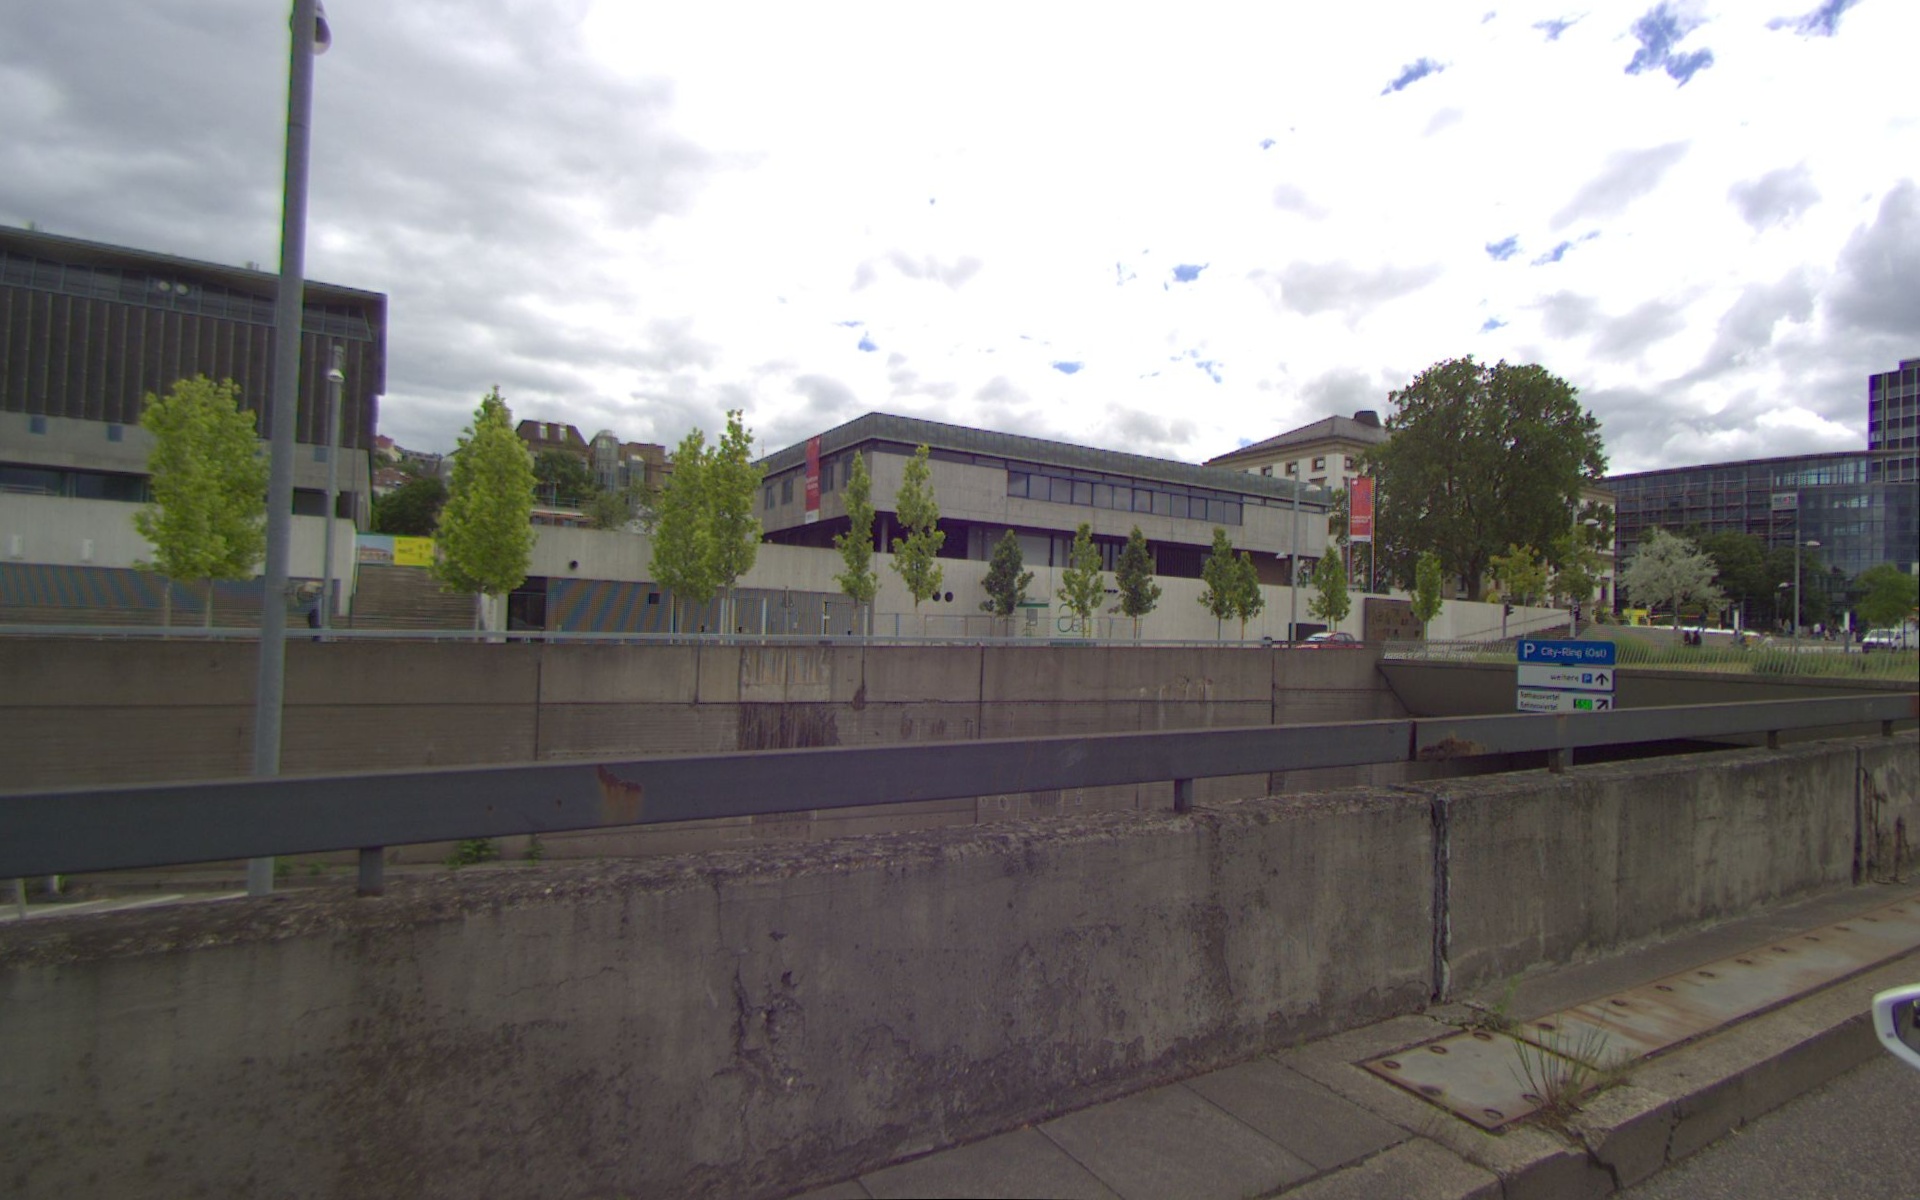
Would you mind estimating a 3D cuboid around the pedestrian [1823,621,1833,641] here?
[{"bbox_3d":[88.303,3.154,102.176,0.730,2.040,0.789,-1,-1,40],"label":"pedestrian"}]

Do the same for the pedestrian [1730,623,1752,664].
[{"bbox_3d":[40.352,2.233,51.902,0.623,2.041,0.724,-4,2,-37],"label":"pedestrian"}]

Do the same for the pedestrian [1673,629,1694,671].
[{"bbox_3d":[35.832,2.447,49.732,0.779,2.040,0.834,0,-1,33],"label":"pedestrian"}]

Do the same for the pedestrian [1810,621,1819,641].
[{"bbox_3d":[90.203,3.269,106.008,0.730,2.040,0.789,-1,-1,40],"label":"pedestrian"}]

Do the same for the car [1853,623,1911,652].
[{"bbox_3d":[70.916,2.848,77.234,4.635,2.040,1.984,0,0,-30],"label":"car"}]

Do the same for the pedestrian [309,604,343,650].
[{"bbox_3d":[-23.249,0.986,36.840,0.777,1.664,0.740,0,0,-2],"label":"pedestrian"}]

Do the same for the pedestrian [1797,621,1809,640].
[{"bbox_3d":[89.917,3.244,107.159,0.783,2.040,0.735,0,0,-29],"label":"pedestrian"}]

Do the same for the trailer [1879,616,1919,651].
[{"bbox_3d":[75.311,2.628,79.645,5.443,2.640,2.027,1,1,-30],"label":"trailer"}]

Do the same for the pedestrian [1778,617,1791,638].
[{"bbox_3d":[79.997,2.677,97.456,1.103,2.040,0.733,0,-1,-35],"label":"pedestrian"}]

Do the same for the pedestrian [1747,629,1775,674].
[{"bbox_3d":[37.705,2.410,47.260,0.622,2.040,0.856,0,0,-30],"label":"pedestrian"}]

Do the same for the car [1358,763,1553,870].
[{"bbox_3d":[13.218,5.647,26.732,5.054,2.040,2.208,2,-1,-29],"label":"car"}]

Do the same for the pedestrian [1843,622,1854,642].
[{"bbox_3d":[89.762,3.244,101.465,0.730,2.040,1.109,-1,-1,40],"label":"pedestrian"}]

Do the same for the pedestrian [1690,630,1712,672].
[{"bbox_3d":[36.544,2.486,49.545,0.779,2.040,0.834,0,-1,33],"label":"pedestrian"}]

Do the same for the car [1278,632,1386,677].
[{"bbox_3d":[16.904,2.448,45.573,4.681,1.879,2.164,2,-1,-31],"label":"car"}]
